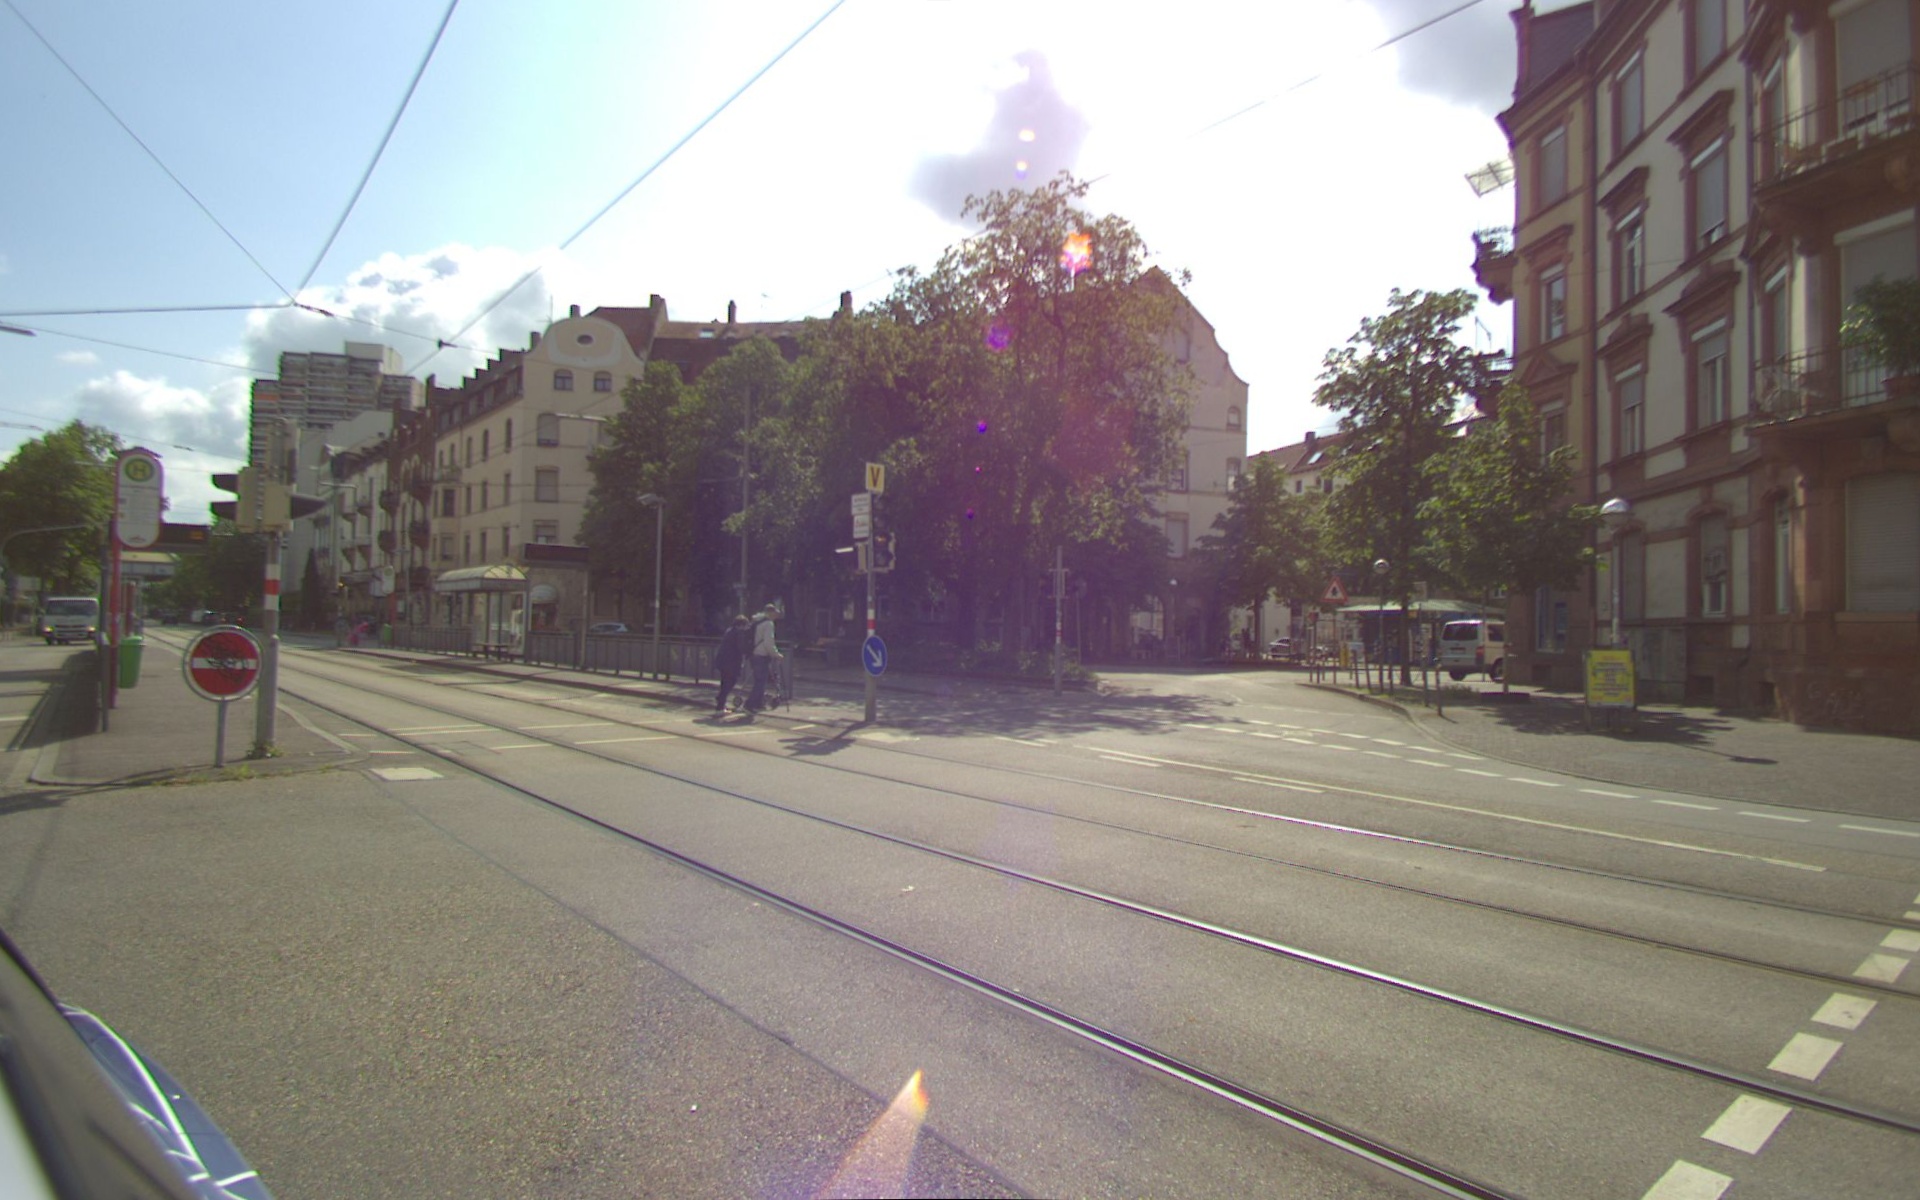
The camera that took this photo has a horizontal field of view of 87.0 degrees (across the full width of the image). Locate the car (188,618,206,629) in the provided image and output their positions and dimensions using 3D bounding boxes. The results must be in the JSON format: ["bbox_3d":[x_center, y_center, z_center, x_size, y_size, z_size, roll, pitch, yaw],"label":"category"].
[{"bbox_3d":[-113.235,3.513,150.119,1.813,1.502,3.897,3,-3,-41],"label":"car"}]

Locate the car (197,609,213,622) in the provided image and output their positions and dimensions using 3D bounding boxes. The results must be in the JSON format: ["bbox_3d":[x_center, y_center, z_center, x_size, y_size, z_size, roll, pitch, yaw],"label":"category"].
[{"bbox_3d":[-129.635,2.706,173.670,1.813,2.209,3.897,3,-3,-41],"label":"car"}]

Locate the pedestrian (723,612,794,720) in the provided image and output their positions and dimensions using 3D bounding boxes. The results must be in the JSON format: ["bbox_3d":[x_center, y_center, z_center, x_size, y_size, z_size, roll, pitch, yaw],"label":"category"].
[{"bbox_3d":[-3.071,0.991,15.463,0.692,1.586,0.773,-1,-3,35],"label":"pedestrian"}]

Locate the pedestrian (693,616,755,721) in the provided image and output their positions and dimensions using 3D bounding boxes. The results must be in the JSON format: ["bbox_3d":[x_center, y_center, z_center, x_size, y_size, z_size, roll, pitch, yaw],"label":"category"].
[{"bbox_3d":[-3.673,1.053,15.765,0.585,1.586,0.707,-1,-3,35],"label":"pedestrian"}]

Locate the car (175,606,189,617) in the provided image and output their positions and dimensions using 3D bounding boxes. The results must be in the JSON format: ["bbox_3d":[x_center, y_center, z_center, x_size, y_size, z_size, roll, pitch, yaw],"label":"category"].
[{"bbox_3d":[-140.464,2.062,182.730,1.813,1.823,3.897,3,-3,-41],"label":"car"}]

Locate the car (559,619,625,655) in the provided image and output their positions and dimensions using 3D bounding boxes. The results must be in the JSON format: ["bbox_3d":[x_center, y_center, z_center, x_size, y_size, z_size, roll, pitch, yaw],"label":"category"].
[{"bbox_3d":[-20.131,1.999,55.377,3.368,1.866,1.618,0,0,-21],"label":"car"}]

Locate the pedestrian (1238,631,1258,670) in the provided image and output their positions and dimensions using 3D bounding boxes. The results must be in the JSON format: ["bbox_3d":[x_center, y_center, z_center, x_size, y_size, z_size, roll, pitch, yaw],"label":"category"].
[{"bbox_3d":[15.239,2.686,53.541,0.703,2.029,0.694,2,-2,-21],"label":"pedestrian"}]

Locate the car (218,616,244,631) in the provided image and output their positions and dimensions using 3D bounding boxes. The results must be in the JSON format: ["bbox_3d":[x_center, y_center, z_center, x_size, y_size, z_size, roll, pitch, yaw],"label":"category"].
[{"bbox_3d":[-77.177,2.475,107.096,1.813,1.502,3.897,3,-3,-41],"label":"car"}]

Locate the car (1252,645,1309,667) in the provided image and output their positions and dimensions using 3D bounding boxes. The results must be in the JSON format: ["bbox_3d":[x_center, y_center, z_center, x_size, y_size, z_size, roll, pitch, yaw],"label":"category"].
[{"bbox_3d":[21.199,3.677,67.135,1.436,1.342,3.776,2,-2,-25],"label":"car"}]

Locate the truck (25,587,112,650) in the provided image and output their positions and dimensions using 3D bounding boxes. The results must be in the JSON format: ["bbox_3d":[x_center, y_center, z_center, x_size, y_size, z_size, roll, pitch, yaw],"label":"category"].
[{"bbox_3d":[-42.331,0.921,48.224,2.492,2.759,6.529,3,-3,-37],"label":"truck"}]

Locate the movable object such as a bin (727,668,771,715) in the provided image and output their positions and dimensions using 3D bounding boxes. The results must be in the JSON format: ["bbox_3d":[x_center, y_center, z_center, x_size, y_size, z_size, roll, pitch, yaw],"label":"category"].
[{"bbox_3d":[-3.402,1.473,16.338,0.456,0.723,0.506,-1,-3,35],"label":"movable object such as a bin"}]

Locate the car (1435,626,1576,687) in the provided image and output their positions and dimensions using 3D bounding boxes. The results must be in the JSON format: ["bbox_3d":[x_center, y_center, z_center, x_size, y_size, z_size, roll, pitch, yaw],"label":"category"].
[{"bbox_3d":[18.120,1.870,33.632,4.191,1.922,2.006,2,-2,-24],"label":"car"}]
